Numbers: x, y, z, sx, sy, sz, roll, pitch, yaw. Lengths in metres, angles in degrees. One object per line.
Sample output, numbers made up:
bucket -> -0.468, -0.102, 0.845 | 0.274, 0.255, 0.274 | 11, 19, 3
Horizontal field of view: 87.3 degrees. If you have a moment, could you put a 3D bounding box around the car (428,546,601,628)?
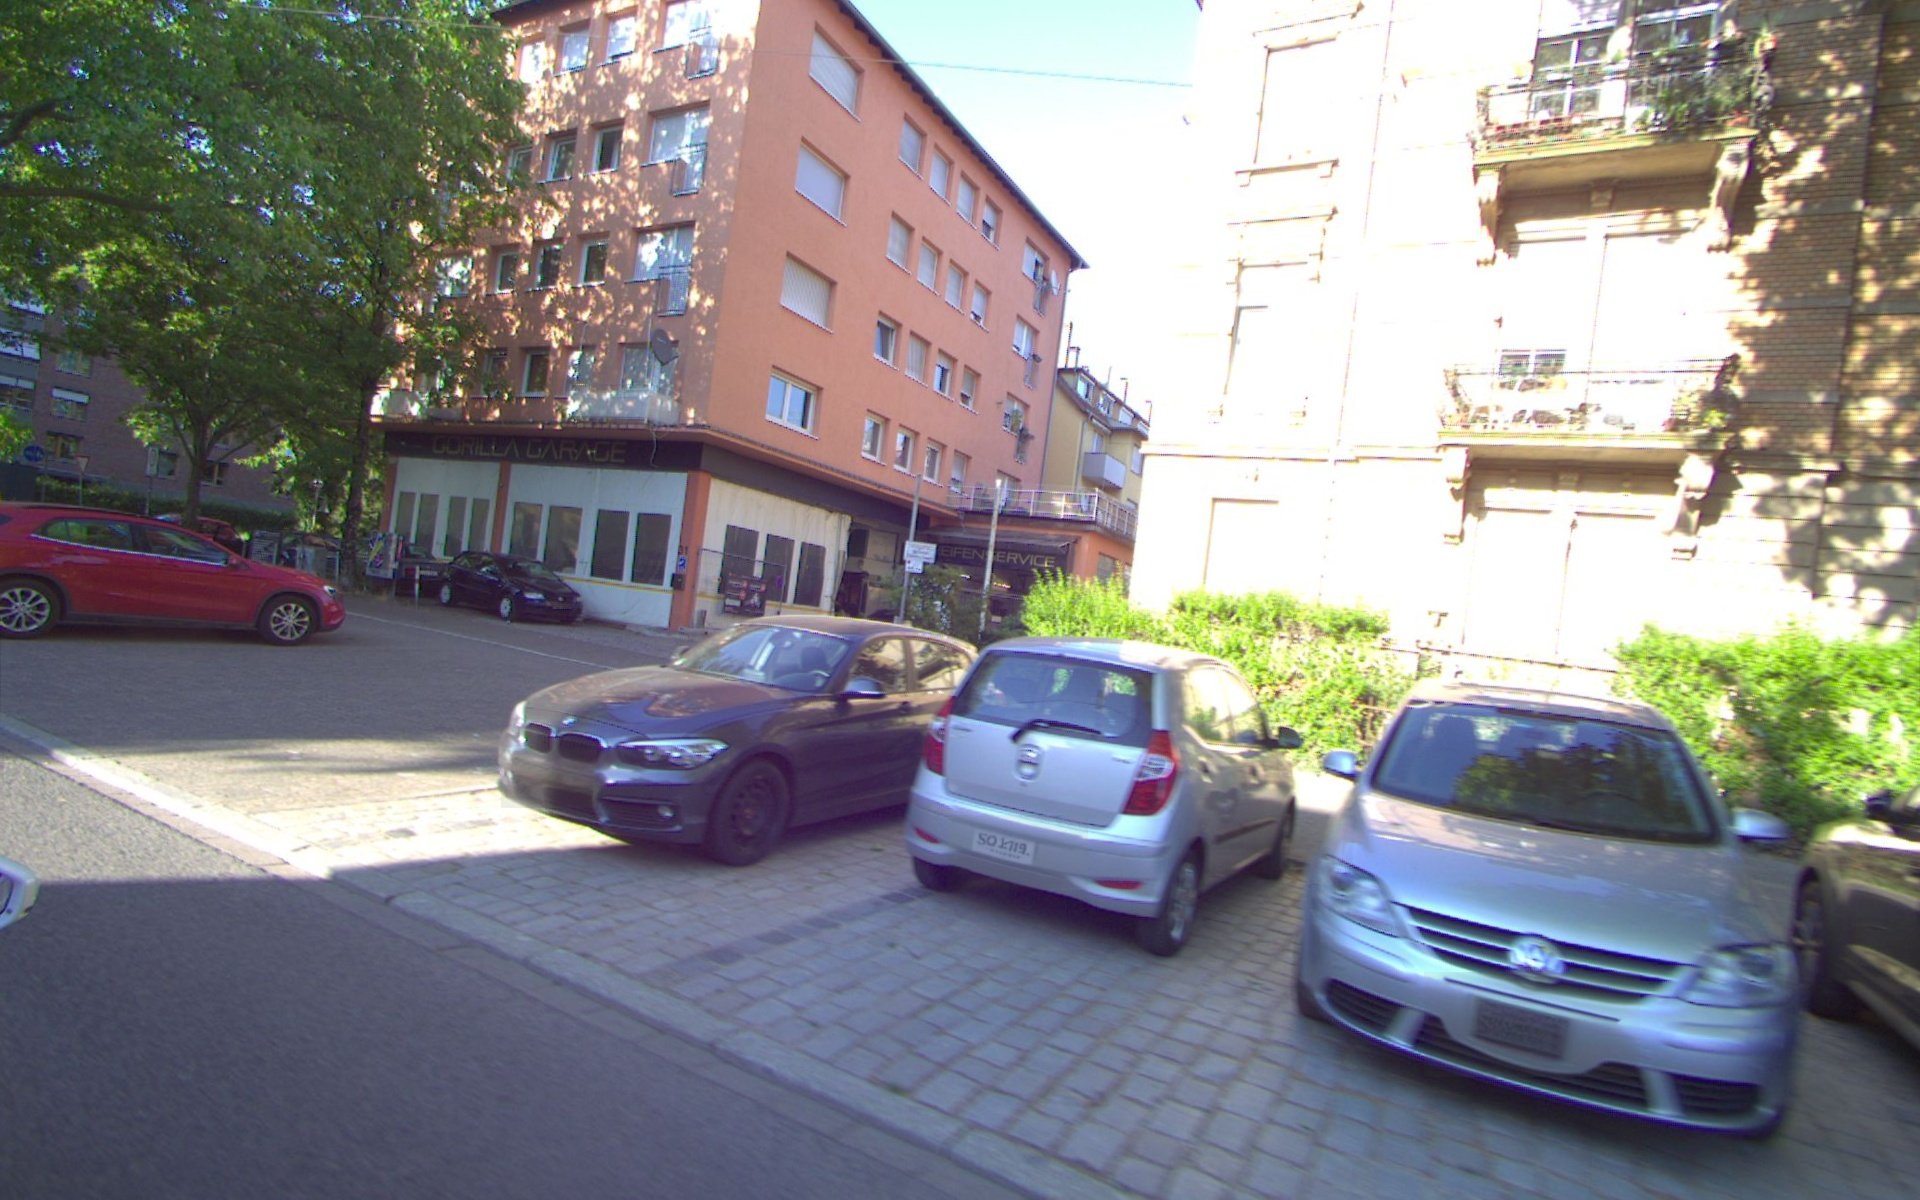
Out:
car -> -10.597, -0.316, 23.892 | 3.884, 1.452, 1.751 | 7, 0, 31

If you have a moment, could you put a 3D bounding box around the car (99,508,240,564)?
car -> -28.455, -2.272, 36.317 | 1.655, 1.470, 3.545 | 7, -1, 29

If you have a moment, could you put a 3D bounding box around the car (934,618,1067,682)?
car -> 1.169, 1.373, 26.682 | 1.909, 1.342, 3.997 | 7, -1, 27

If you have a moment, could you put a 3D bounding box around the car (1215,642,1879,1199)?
car -> 2.948, 1.222, 5.184 | 1.788, 1.592, 4.205 | 7, -1, 33

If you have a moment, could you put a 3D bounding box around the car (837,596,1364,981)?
car -> 1.284, 1.028, 6.784 | 1.788, 1.574, 4.205 | 7, -1, 33

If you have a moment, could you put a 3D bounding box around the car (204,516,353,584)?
car -> -21.673, -1.593, 31.986 | 4.496, 1.594, 1.794 | 7, 0, 25

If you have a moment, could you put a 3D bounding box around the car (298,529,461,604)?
car -> -15.408, -0.896, 26.659 | 4.393, 1.452, 1.751 | 7, 0, 31

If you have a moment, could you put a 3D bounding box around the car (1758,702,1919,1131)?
car -> 4.805, 1.363, 3.825 | 1.846, 1.638, 4.210 | 7, -1, 28

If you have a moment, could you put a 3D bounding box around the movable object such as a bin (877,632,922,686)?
movable object such as a bin -> -1.141, 1.118, 18.937 | 0.440, 0.951, 0.657 | 6, -1, 35

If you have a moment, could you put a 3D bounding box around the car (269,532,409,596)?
car -> -21.168, -1.232, 34.260 | 4.496, 1.594, 1.794 | 7, 0, 25

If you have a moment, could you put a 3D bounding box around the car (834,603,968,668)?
car -> -1.491, 1.011, 27.235 | 1.907, 1.407, 3.999 | 7, -1, 23

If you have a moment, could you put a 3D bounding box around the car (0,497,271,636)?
car -> -12.325, -0.523, 13.726 | 1.790, 1.561, 4.403 | 7, -1, 37

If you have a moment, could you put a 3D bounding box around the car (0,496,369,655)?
car -> -10.317, -0.293, 12.732 | 1.920, 1.561, 4.409 | 7, -1, 33

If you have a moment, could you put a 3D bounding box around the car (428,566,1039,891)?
car -> -1.216, 0.793, 7.234 | 1.787, 1.465, 4.208 | 7, -1, 30
